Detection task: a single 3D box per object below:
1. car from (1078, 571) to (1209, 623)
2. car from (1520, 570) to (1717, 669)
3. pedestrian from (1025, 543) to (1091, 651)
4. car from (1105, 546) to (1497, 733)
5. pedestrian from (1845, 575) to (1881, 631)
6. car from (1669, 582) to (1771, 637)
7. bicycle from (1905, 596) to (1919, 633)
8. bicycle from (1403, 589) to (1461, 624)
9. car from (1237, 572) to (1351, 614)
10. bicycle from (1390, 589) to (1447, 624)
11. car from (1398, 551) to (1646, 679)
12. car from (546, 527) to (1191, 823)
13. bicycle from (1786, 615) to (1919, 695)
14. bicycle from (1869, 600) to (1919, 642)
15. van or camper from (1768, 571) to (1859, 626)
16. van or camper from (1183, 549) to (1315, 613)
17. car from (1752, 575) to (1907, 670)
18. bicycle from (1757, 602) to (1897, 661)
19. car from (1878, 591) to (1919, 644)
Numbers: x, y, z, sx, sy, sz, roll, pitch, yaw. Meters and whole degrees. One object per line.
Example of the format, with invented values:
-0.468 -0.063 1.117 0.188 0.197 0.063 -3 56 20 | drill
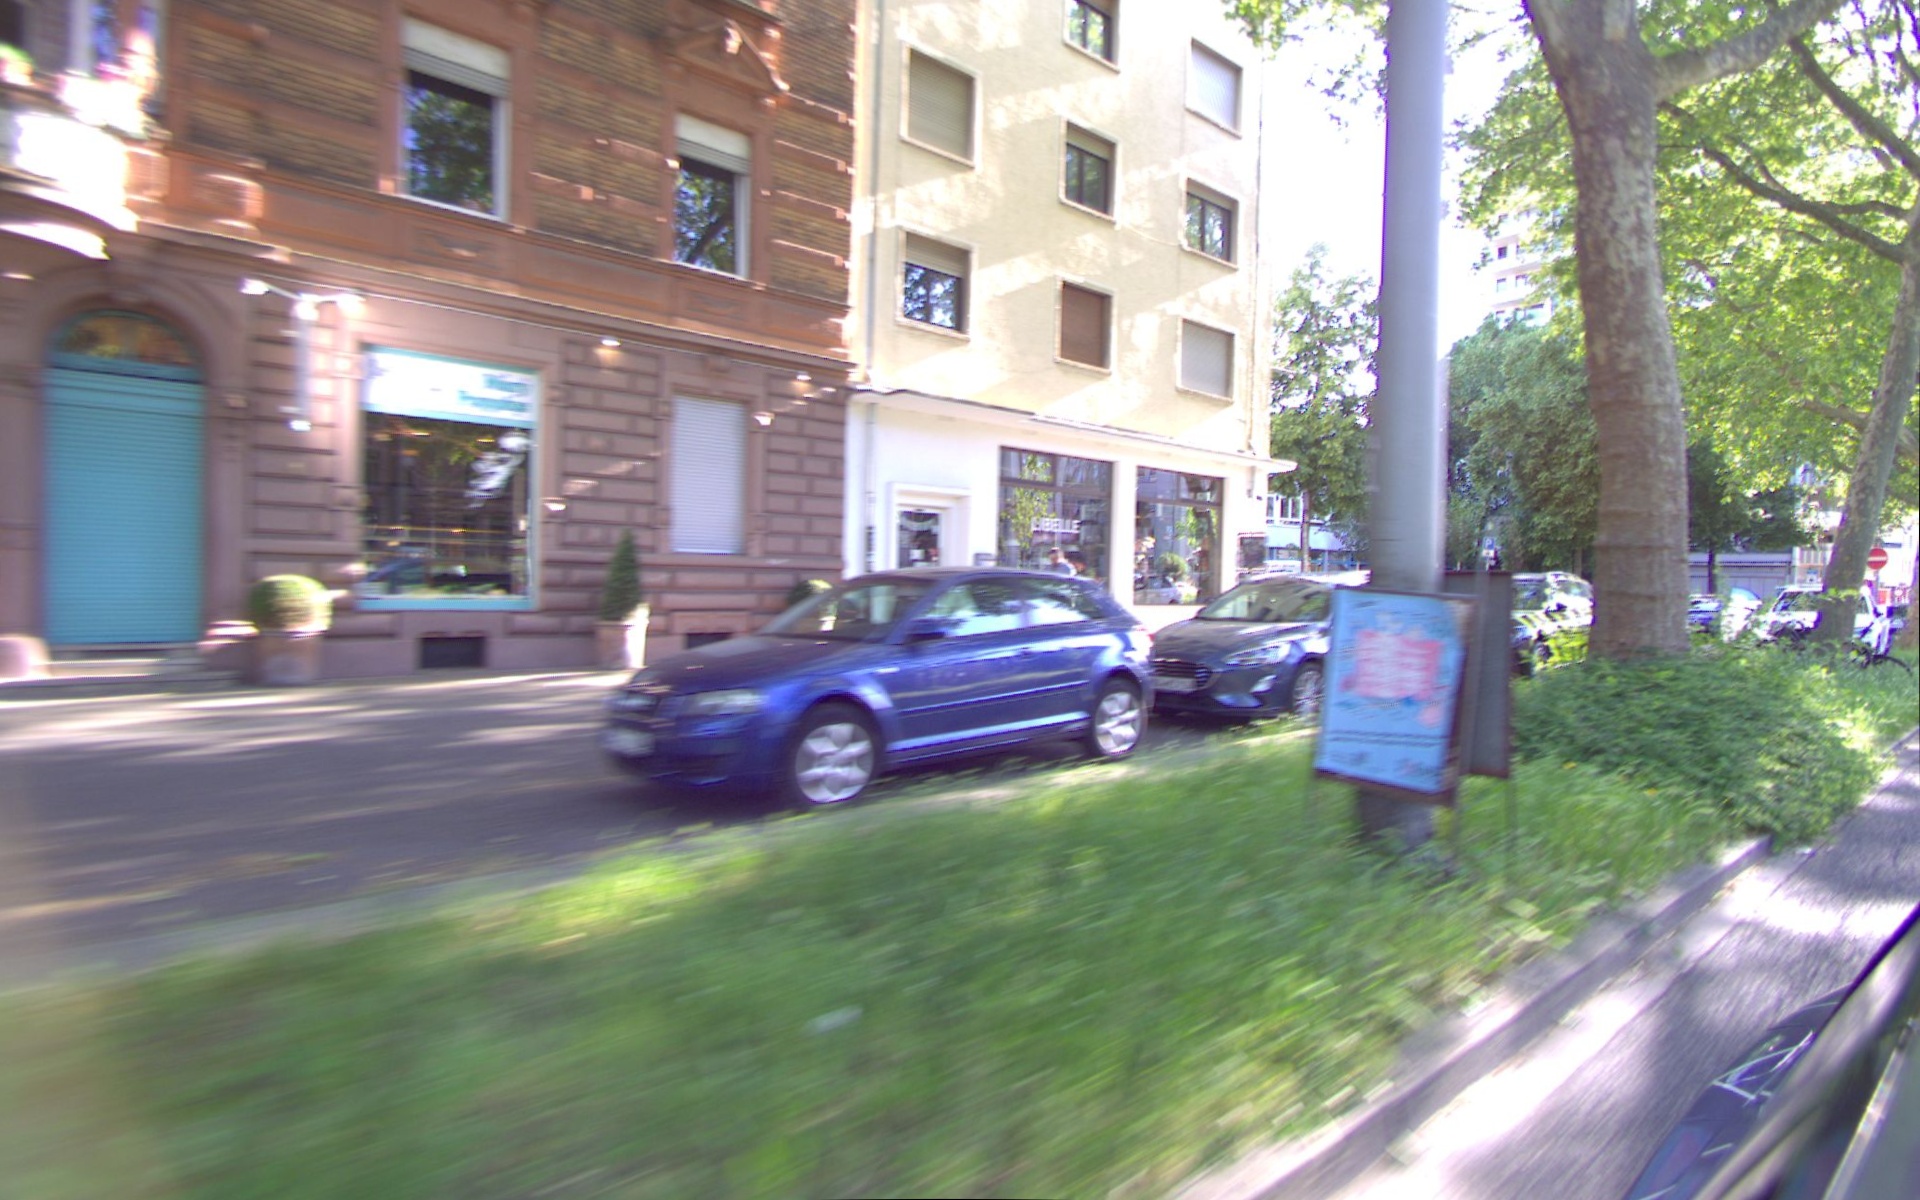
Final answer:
6.037 -0.137 33.862 1.959 1.600 4.610 1 1 -25 | car
11.356 0.314 17.340 4.186 1.470 1.718 1 1 -41 | car
1.618 -0.066 16.734 0.711 1.725 0.797 0 1 -40 | pedestrian
3.652 0.330 10.379 4.500 1.526 1.699 1 1 -40 | car
26.692 0.083 29.915 0.700 1.631 0.688 1 -2 -41 | pedestrian
26.686 0.292 35.482 5.077 1.763 1.823 0 2 -41 | car
30.823 0.486 31.428 0.665 1.138 2.073 0 2 -41 | bicycle
16.308 0.203 35.029 0.497 1.117 2.151 1 1 -16 | bicycle
13.820 -0.280 41.888 4.299 1.648 2.004 0 1 -26 | car
15.778 0.203 34.877 0.497 1.117 2.151 1 1 -16 | bicycle
8.005 0.184 14.253 4.186 1.549 1.698 1 1 -41 | car
-0.424 0.366 6.942 4.119 1.425 1.836 0 -1 -41 | car
13.485 0.792 15.202 0.396 1.071 1.600 0 1 -33 | bicycle
22.210 0.473 24.055 2.127 0.937 0.640 0 1 -41 | bicycle
38.320 -0.099 45.368 5.722 2.315 2.295 0 1 -42 | van or camper
12.660 -0.813 44.280 5.472 2.669 2.158 1 1 -25 | van or camper
17.530 0.383 20.318 4.744 1.656 1.905 0 2 -44 | car
15.095 0.537 17.653 1.734 0.939 0.652 1 1 9 | bicycle
27.655 0.481 28.760 4.938 1.415 1.757 0 1 -41 | car
